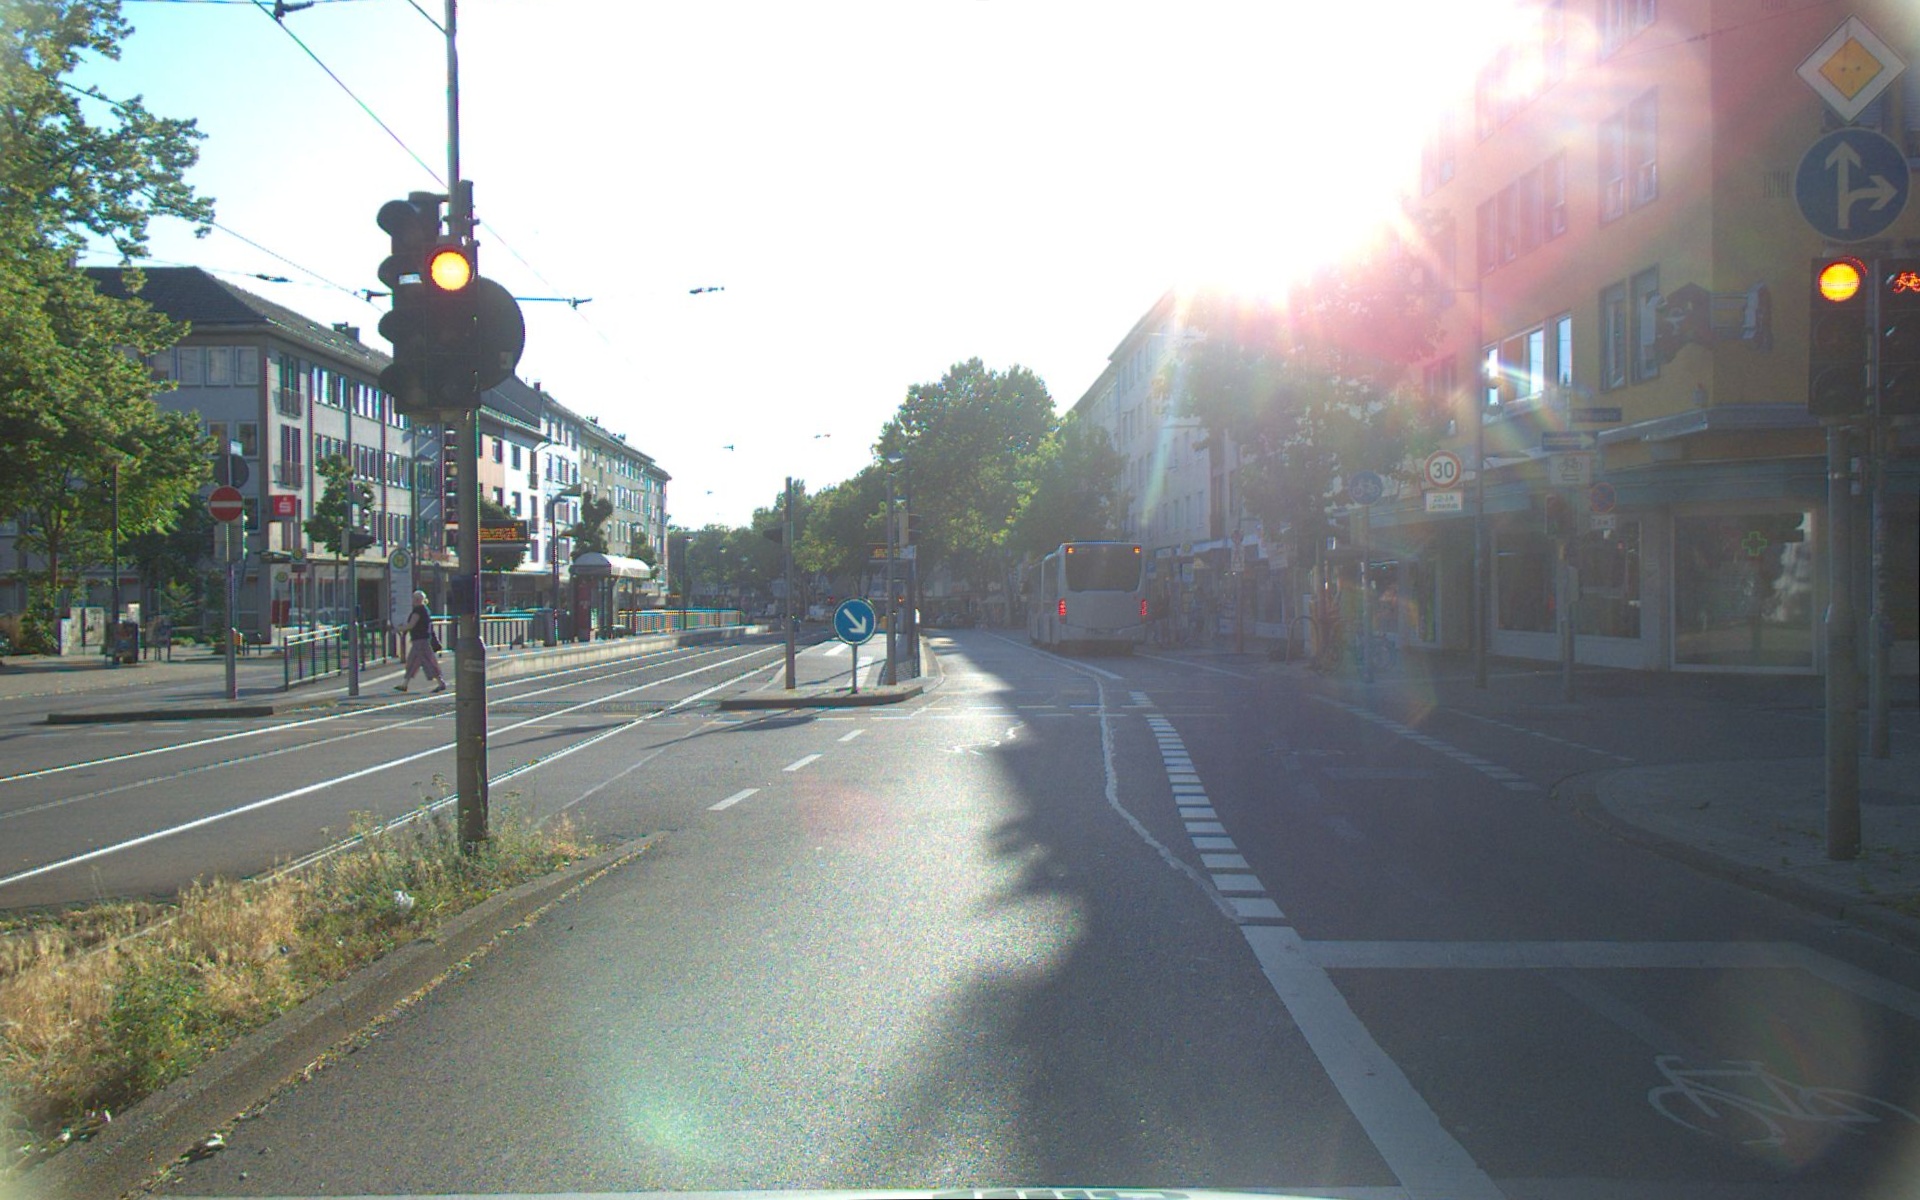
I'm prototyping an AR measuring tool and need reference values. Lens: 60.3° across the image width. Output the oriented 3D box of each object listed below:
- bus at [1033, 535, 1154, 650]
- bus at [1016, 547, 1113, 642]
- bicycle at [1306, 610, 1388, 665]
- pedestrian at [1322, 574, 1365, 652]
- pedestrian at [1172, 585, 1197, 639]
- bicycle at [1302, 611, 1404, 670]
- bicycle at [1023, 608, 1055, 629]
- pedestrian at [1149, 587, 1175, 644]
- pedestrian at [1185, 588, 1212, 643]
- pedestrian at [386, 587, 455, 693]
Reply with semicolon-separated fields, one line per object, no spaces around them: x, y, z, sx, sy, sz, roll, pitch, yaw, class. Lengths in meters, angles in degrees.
3.889;-0.191;50.152;2.642;3.173;9.378;0;0;-2;bus
3.624;-0.168;59.413;2.642;3.173;9.066;0;0;-2;bus
7.467;0.718;31.939;1.453;1.026;0.454;-1;0;-5;bicycle
9.133;0.301;39.405;0.728;1.811;0.894;-2;-1;-2;pedestrian
7.580;0.415;55.873;0.709;1.810;0.766;-1;-1;-2;pedestrian
7.448;0.762;31.362;1.763;1.026;0.540;-3;0;-5;bicycle
4.847;1.125;101.027;1.848;1.096;0.754;-5;0;1;bicycle
6.623;0.509;54.338;0.709;1.838;0.766;-1;-1;-2;pedestrian
7.756;0.499;53.796;0.709;1.753;0.766;-1;-1;-2;pedestrian
-9.347;0.686;28.696;0.900;1.791;0.832;-1;-1;0;pedestrian
